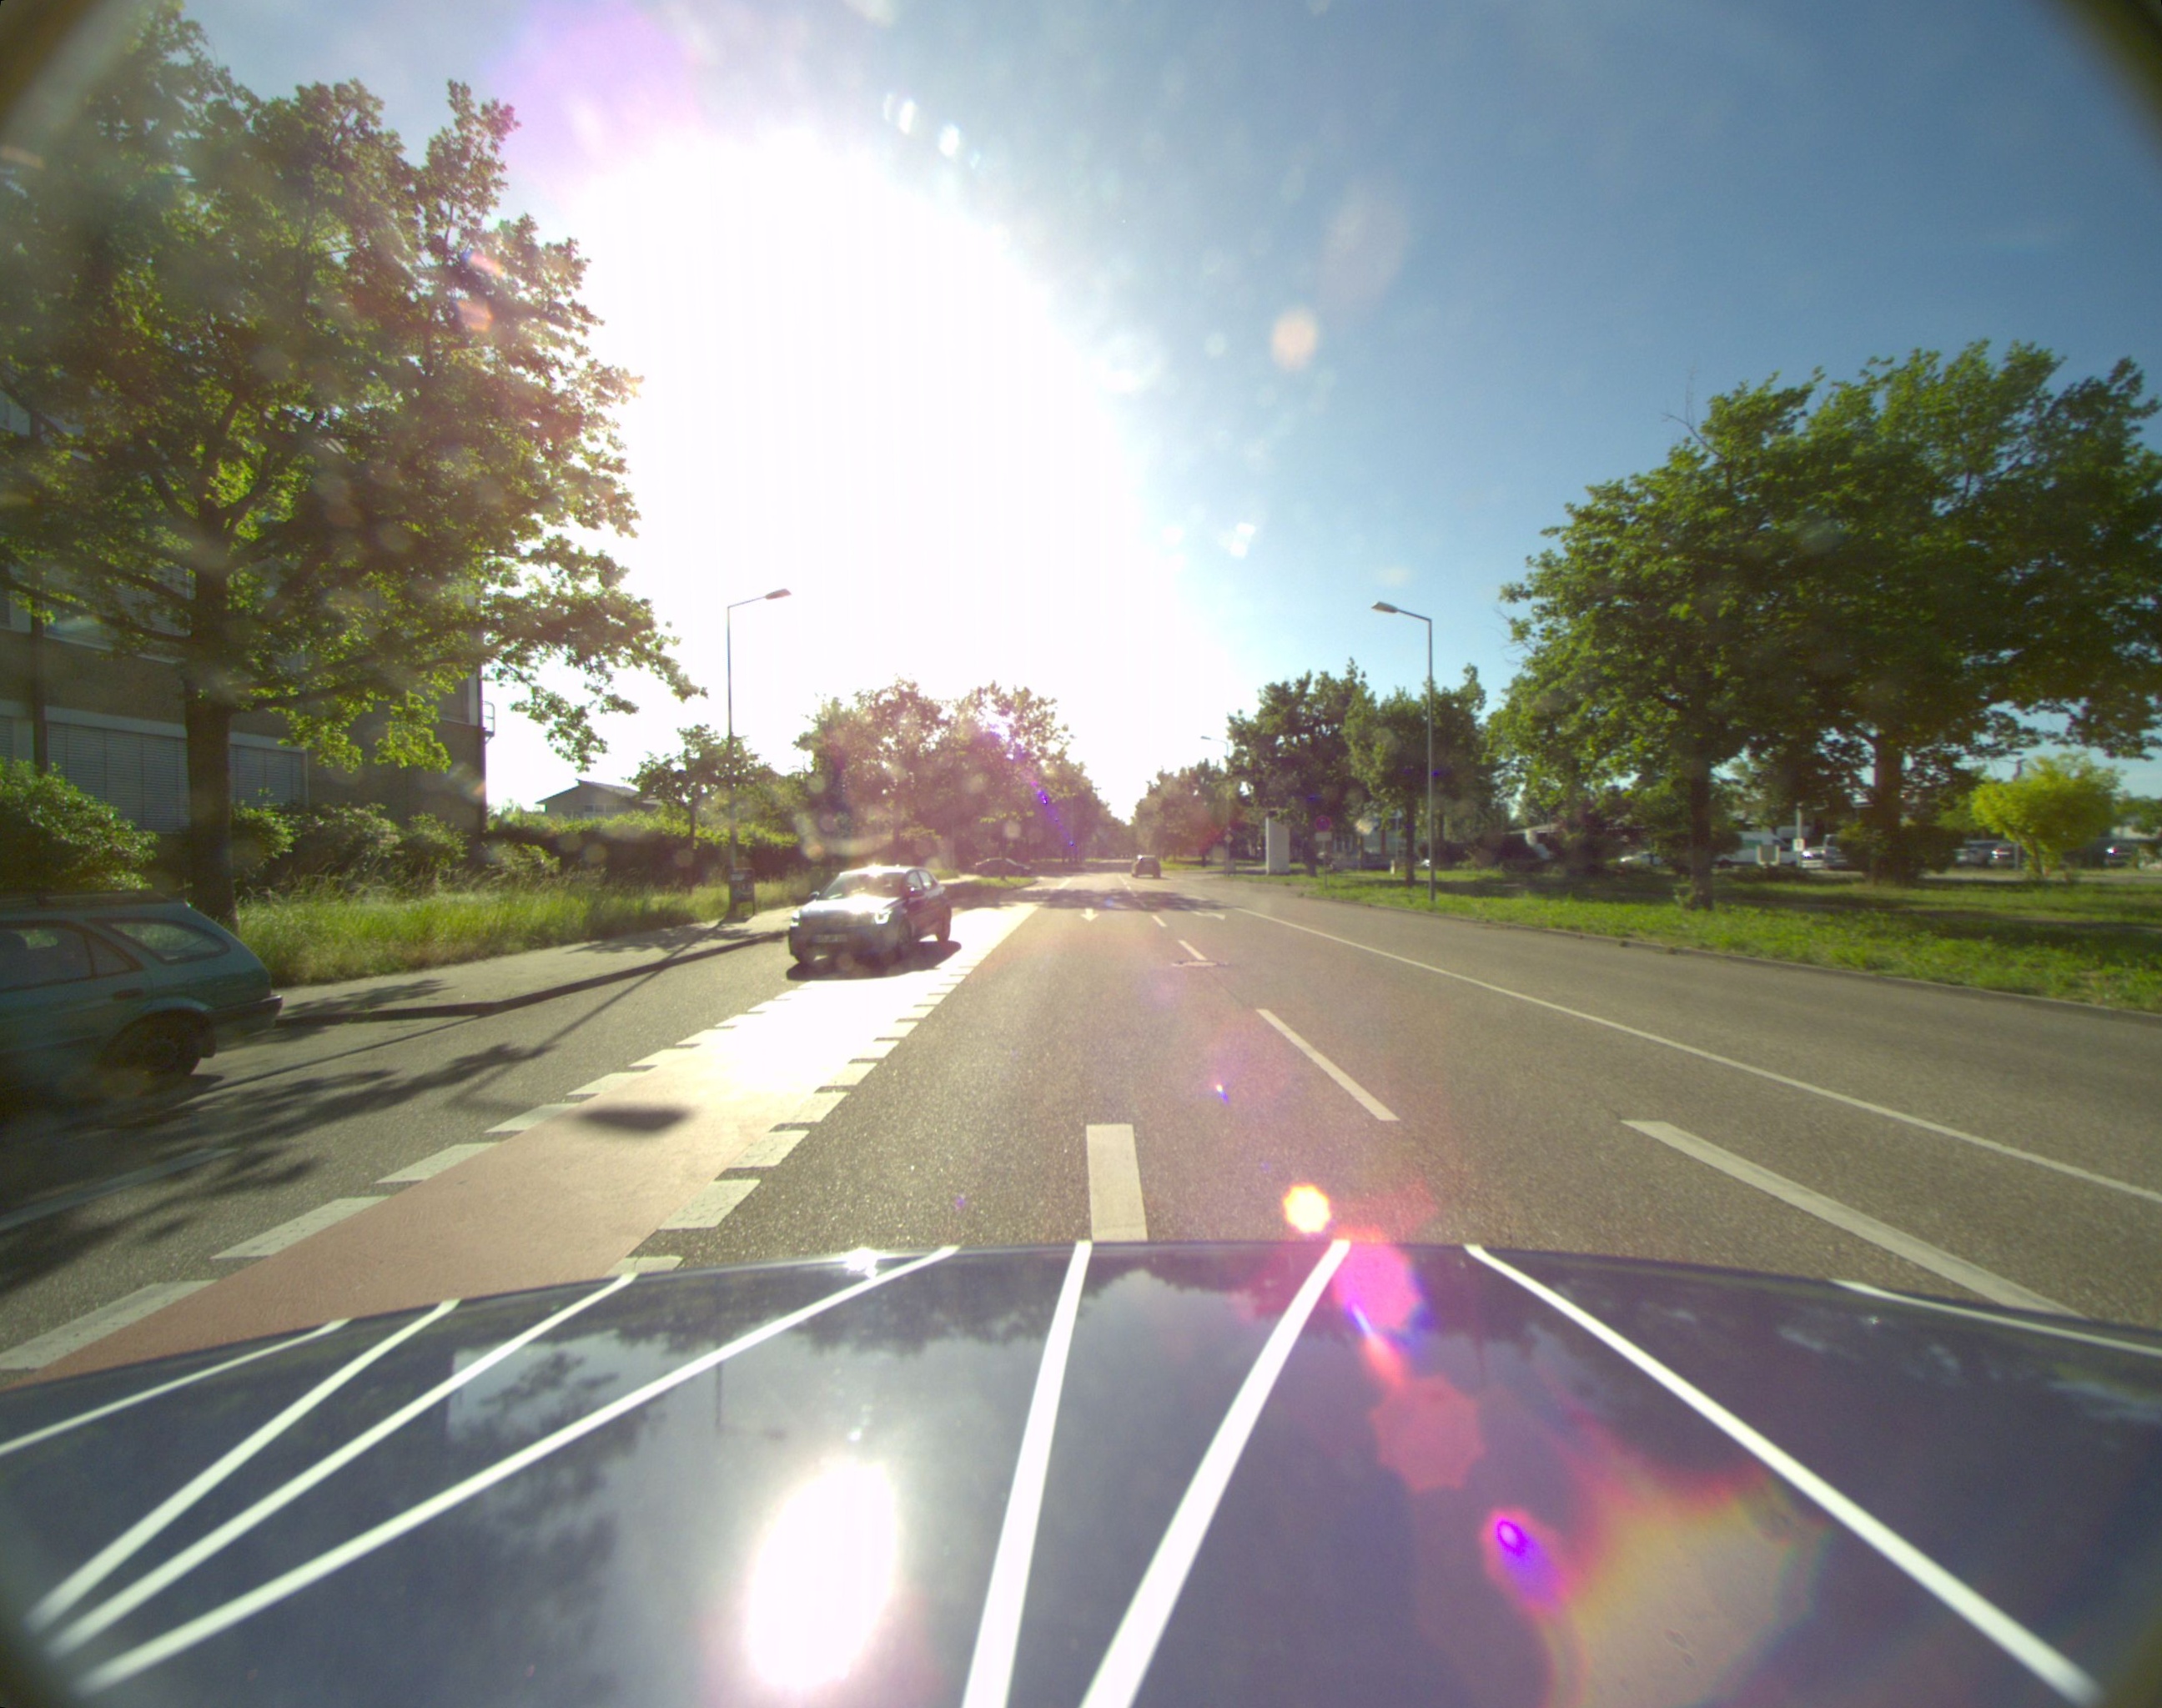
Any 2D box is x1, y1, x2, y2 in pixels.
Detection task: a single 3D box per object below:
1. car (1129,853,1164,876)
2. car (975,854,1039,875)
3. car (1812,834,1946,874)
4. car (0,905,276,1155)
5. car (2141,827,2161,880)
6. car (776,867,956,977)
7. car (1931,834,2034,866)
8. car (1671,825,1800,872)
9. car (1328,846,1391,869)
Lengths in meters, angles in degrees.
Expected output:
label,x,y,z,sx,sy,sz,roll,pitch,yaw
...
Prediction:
label,x,y,z,sx,sy,sz,roll,pitch,yaw
car,4.479,0.681,52.587,1.768,1.517,4.078,0,0,-4
car,-5.642,0.781,58.333,4.481,1.510,1.898,0,1,11
car,40.051,-0.018,38.219,4.642,1.771,1.990,-2,1,0
car,-7.530,1.130,4.213,1.706,1.460,4.141,-1,-1,0
car,33.880,-0.097,22.037,3.817,1.562,1.736,-2,-1,0
car,-3.451,1.032,12.998,1.653,1.460,3.942,-2,0,4
car,52.078,-0.223,43.959,3.860,1.661,1.762,-2,1,0
car,39.889,-0.352,46.396,6.023,2.540,2.409,-2,1,-4
car,23.916,0.287,65.366,4.637,1.822,2.000,-2,1,0
